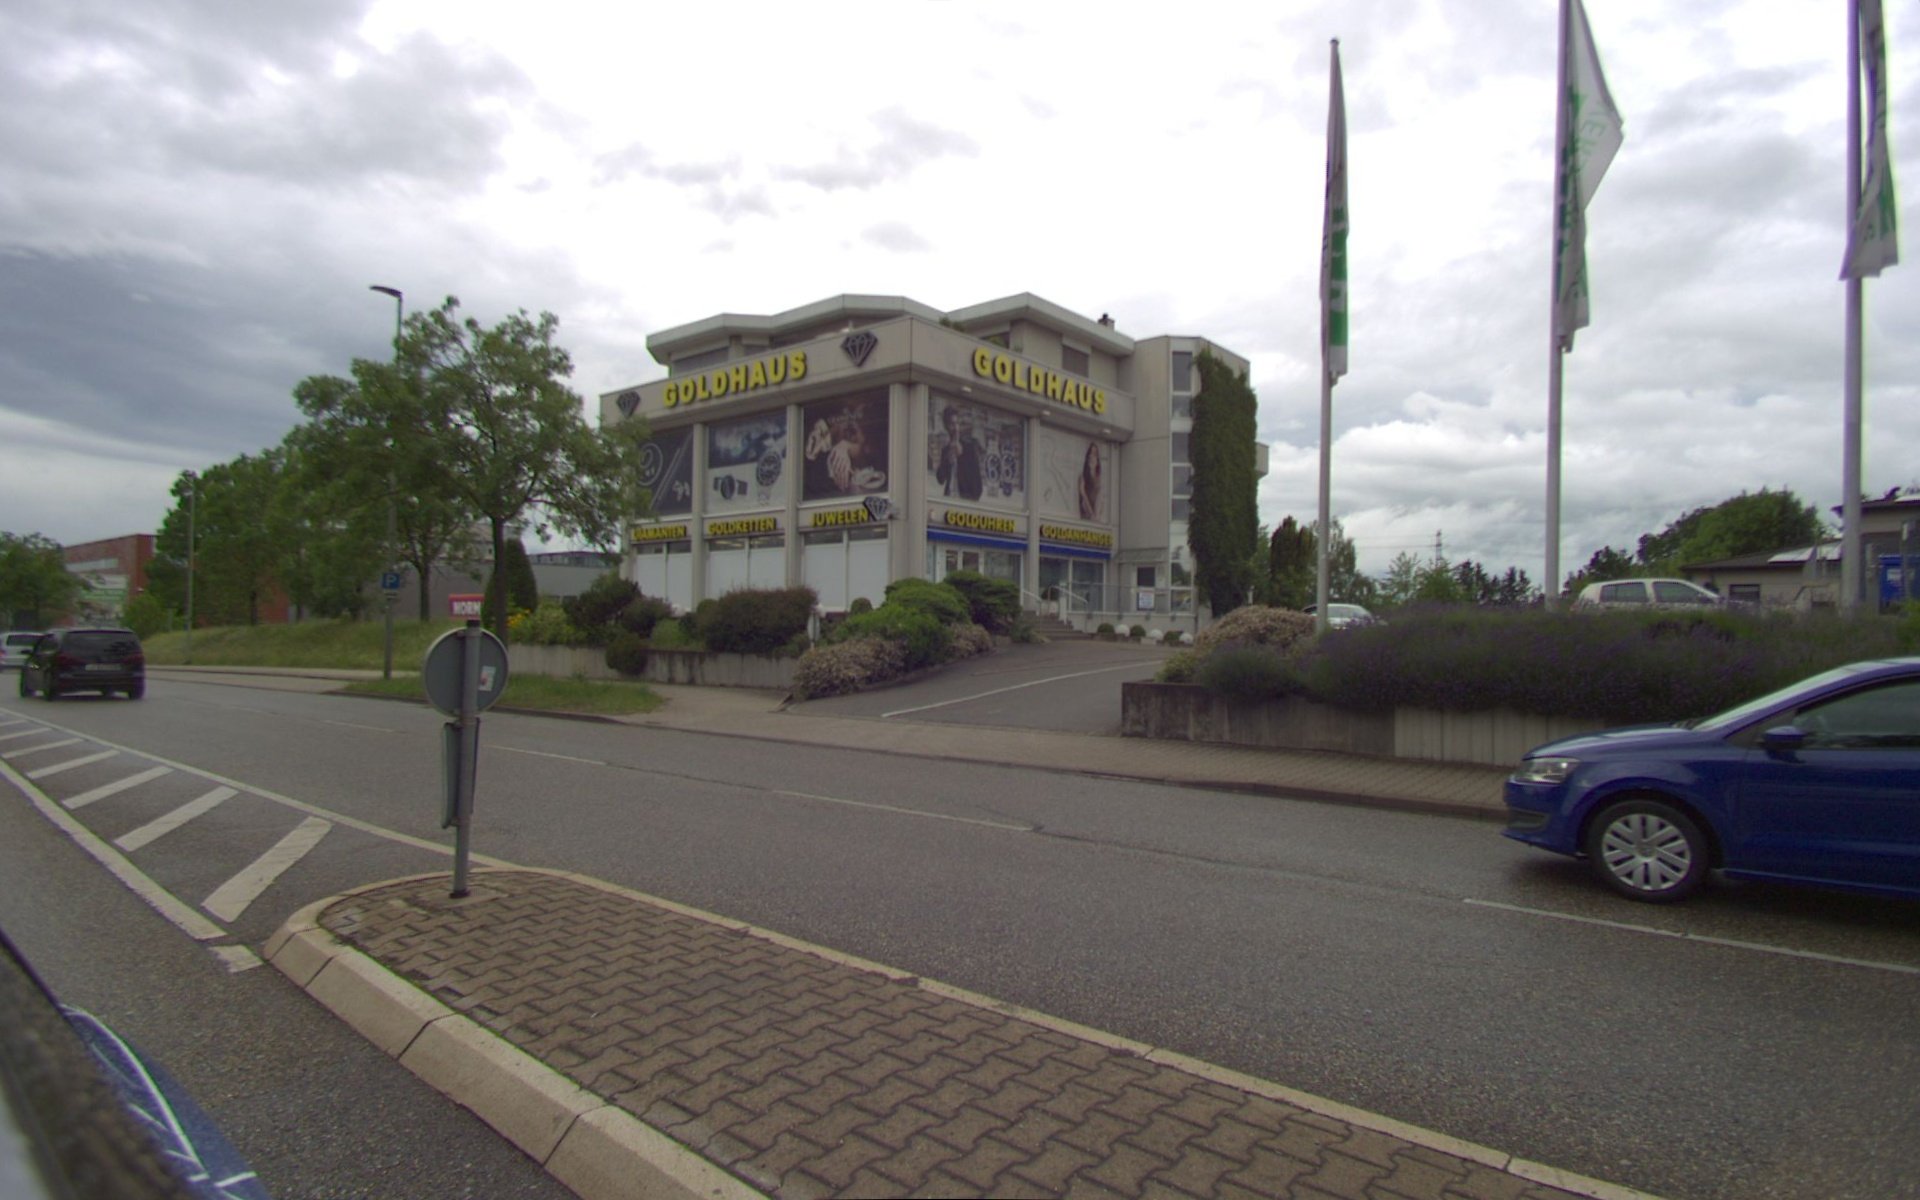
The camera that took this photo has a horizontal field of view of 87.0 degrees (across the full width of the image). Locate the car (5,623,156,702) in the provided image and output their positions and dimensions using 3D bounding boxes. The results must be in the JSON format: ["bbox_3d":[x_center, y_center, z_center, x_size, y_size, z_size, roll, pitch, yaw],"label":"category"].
[{"bbox_3d":[-20.564,1.428,23.612,4.140,1.690,1.740,-1,-3,36],"label":"car"}]

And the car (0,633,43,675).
[{"bbox_3d":[-47.252,2.669,50.347,4.895,1.998,1.777,-2,-4,41],"label":"car"}]

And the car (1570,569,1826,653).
[{"bbox_3d":[14.739,0.274,20.343,4.001,1.524,1.656,-2,-4,42],"label":"car"}]

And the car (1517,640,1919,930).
[{"bbox_3d":[5.269,0.926,5.418,3.762,1.392,1.617,-2,-4,40],"label":"car"}]

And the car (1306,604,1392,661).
[{"bbox_3d":[11.158,0.927,28.909,1.865,1.524,3.965,-1,-2,27],"label":"car"}]
